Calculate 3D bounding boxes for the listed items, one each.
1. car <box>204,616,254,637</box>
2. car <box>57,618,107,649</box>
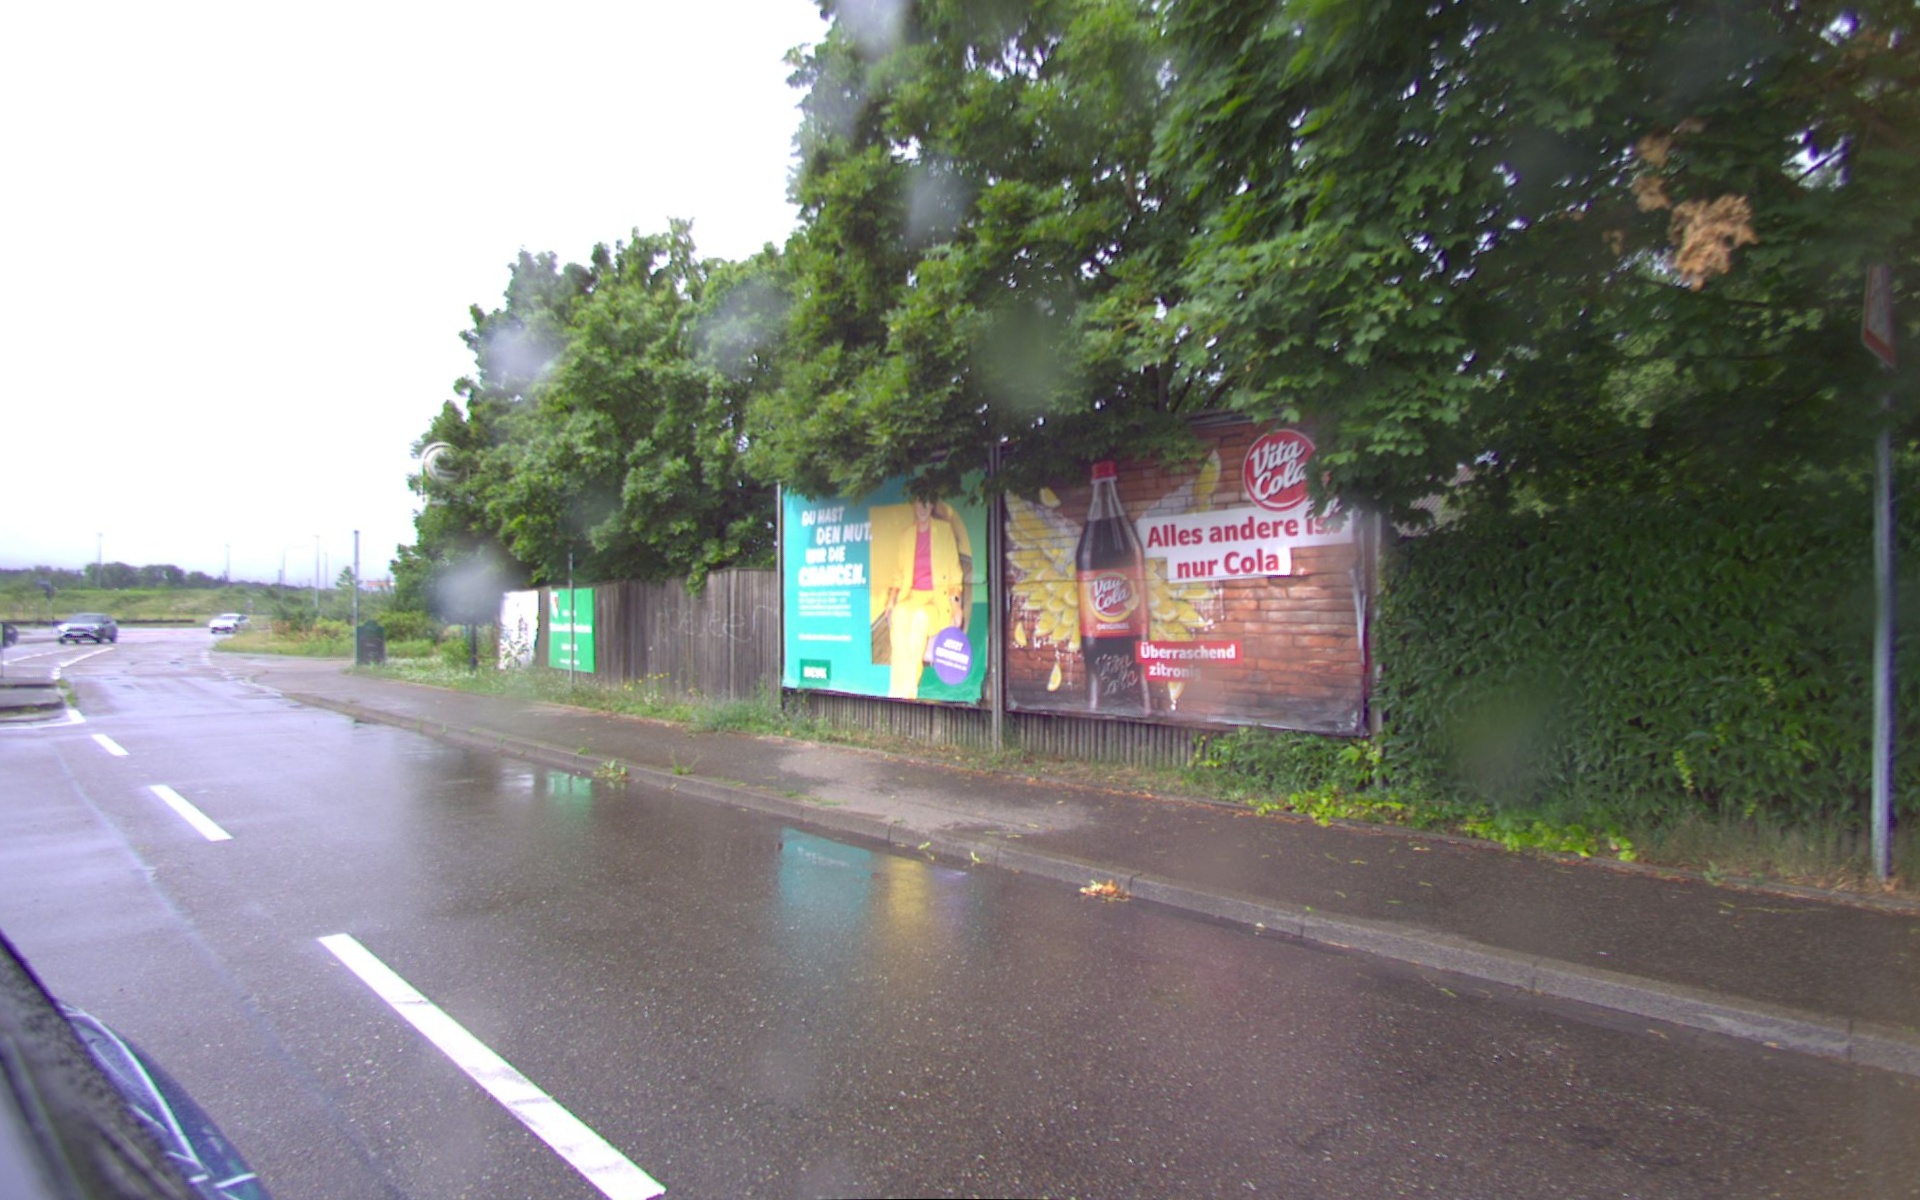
[{"bbox_3d":[-61.228,2.209,84.811,1.770,1.645,3.824,0,-1,-7],"label":"car"},{"bbox_3d":[-48.505,1.813,55.977,1.621,1.645,3.678,0,-1,-33],"label":"car"}]
